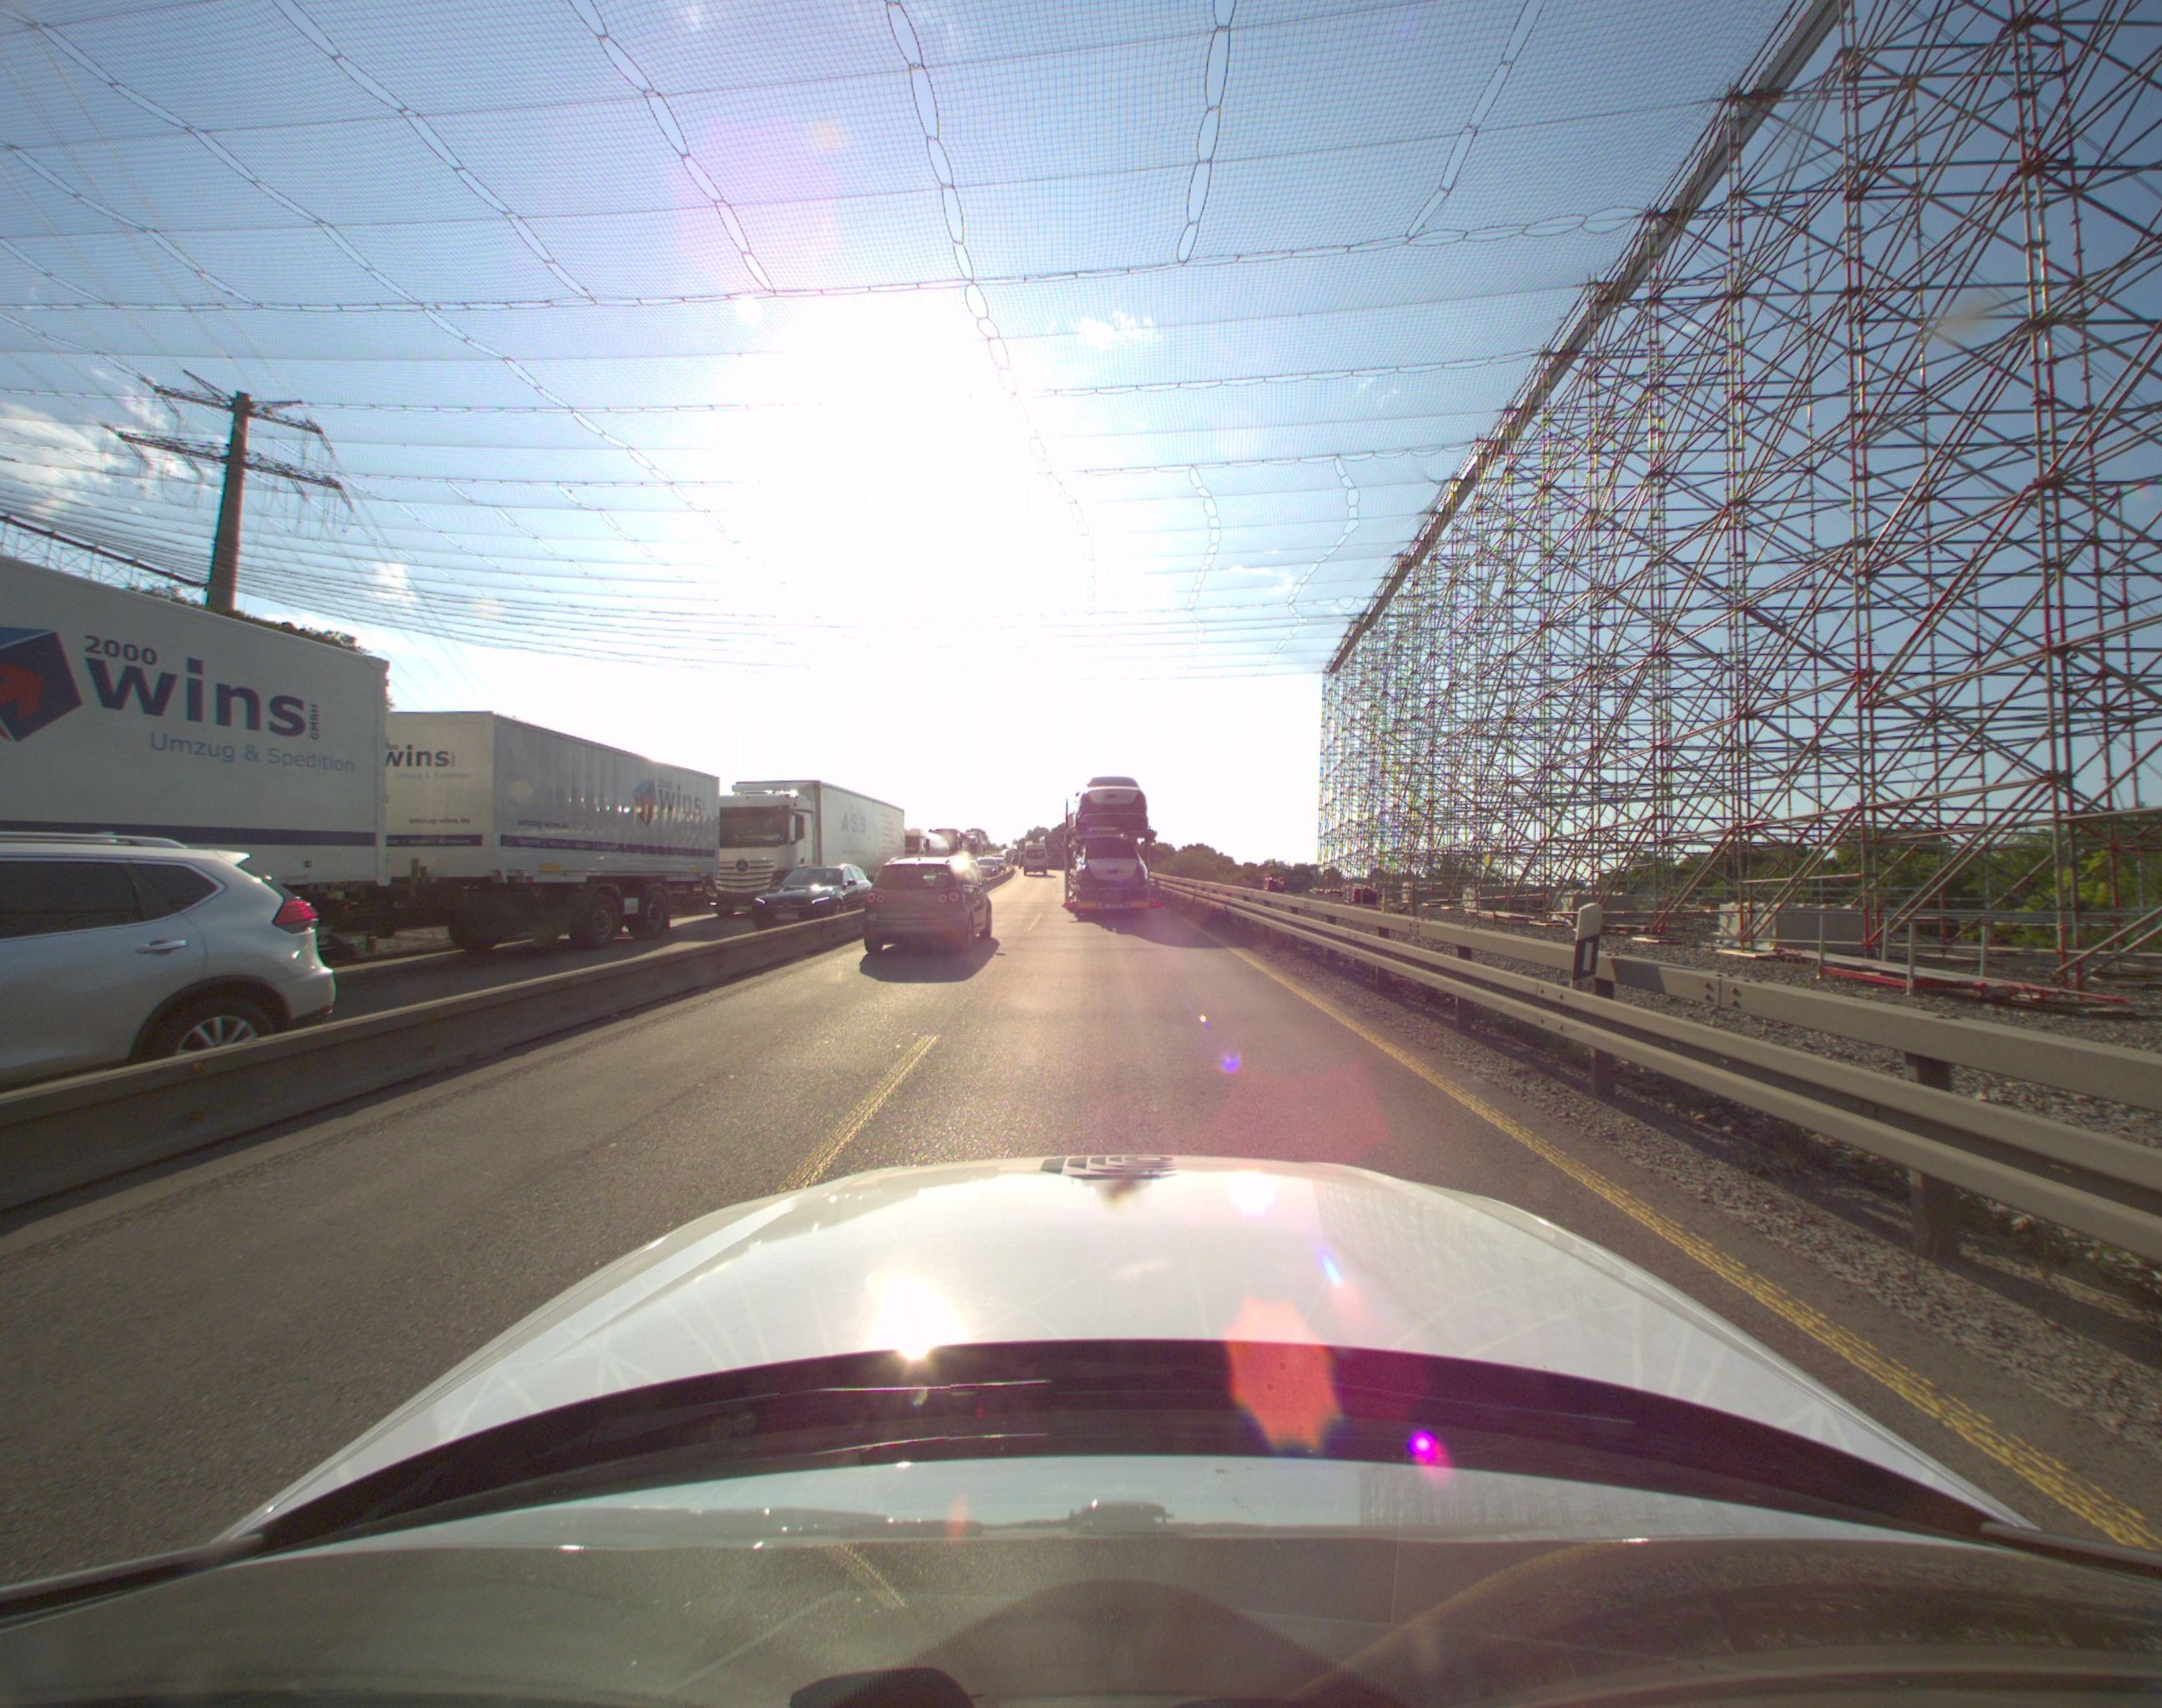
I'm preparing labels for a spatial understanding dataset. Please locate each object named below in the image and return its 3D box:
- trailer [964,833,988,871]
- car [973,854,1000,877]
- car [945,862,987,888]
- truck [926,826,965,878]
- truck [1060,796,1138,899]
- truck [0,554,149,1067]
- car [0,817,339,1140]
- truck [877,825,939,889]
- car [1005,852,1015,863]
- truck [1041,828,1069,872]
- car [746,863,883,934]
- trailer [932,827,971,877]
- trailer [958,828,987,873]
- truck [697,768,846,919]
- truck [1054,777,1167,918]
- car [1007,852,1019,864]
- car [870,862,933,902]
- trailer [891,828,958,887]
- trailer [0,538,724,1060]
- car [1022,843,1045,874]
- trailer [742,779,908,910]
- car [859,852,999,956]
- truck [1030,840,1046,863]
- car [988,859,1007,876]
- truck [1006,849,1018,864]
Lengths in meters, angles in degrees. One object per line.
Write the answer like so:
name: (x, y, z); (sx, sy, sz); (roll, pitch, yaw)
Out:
trailer: (-11.947, -0.174, 92.831); (2.440, 4.189, 8.526); (0, -1, -6)
car: (-6.824, 0.843, 59.065); (1.747, 1.587, 3.937); (0, -1, -4)
car: (-6.643, 1.183, 47.447); (1.788, 1.398, 4.243); (0, -1, 0)
truck: (-10.375, -0.143, 62.726); (2.428, 3.785, 5.609); (0, -1, -4)
truck: (0.646, -0.192, 34.943); (2.829, 3.792, 9.983); (0, -1, 0)
truck: (-9.582, -0.348, 3.562); (2.622, 3.910, 7.204); (0, -1, 1)
car: (-6.156, 0.606, 3.562); (1.802, 1.568, 4.365); (0, -1, 0)
truck: (-9.616, 0.190, 45.822); (2.407, 3.370, 5.613); (0, -1, -2)
car: (-12.764, 0.647, 146.412); (1.629, 2.014, 3.989); (0, -1, -8)
truck: (-3.350, -0.474, 102.280); (3.279, 5.237, 9.922); (0, -1, -4)
car: (-6.184, 0.962, 19.485); (1.772, 1.450, 4.661); (0, -1, -1)
trailer: (-10.753, -0.086, 68.486); (2.303, 3.790, 12.031); (0, -1, -5)
trailer: (-11.040, -0.264, 83.309); (2.472, 4.328, 10.491); (0, -1, -5)
truck: (-9.141, -0.266, 24.725); (2.466, 4.046, 5.614); (0, -1, -1)
truck: (0.703, -0.112, 25.543); (2.790, 3.497, 10.601); (0, -1, 0)
car: (-10.706, 0.631, 128.147); (1.823, 1.772, 3.994); (0, -1, -4)
car: (-6.693, 1.011, 30.708); (1.603, 1.376, 3.898); (0, -1, -1)
trailer: (-9.785, 0.265, 52.335); (2.301, 3.362, 12.043); (0, -1, -2)
trailer: (-9.683, -0.357, 12.479); (2.662, 4.016, 13.328); (0, -1, 0)
car: (-4.073, 0.408, 69.803); (1.917, 2.492, 5.401); (0, -1, -4)
trailer: (-9.284, -0.227, 31.852); (2.421, 3.963, 14.088); (0, -1, -2)
car: (-2.570, 0.791, 14.659); (1.686, 1.596, 4.000); (0, -1, 1)
truck: (-7.057, -0.316, 133.344); (2.525, 3.648, 8.893); (0, -1, -3)
car: (-7.645, 1.226, 74.507); (1.624, 1.426, 4.380); (0, -1, -5)
truck: (-15.869, 0.603, 186.718); (2.587, 3.170, 6.662); (0, -1, -6)
